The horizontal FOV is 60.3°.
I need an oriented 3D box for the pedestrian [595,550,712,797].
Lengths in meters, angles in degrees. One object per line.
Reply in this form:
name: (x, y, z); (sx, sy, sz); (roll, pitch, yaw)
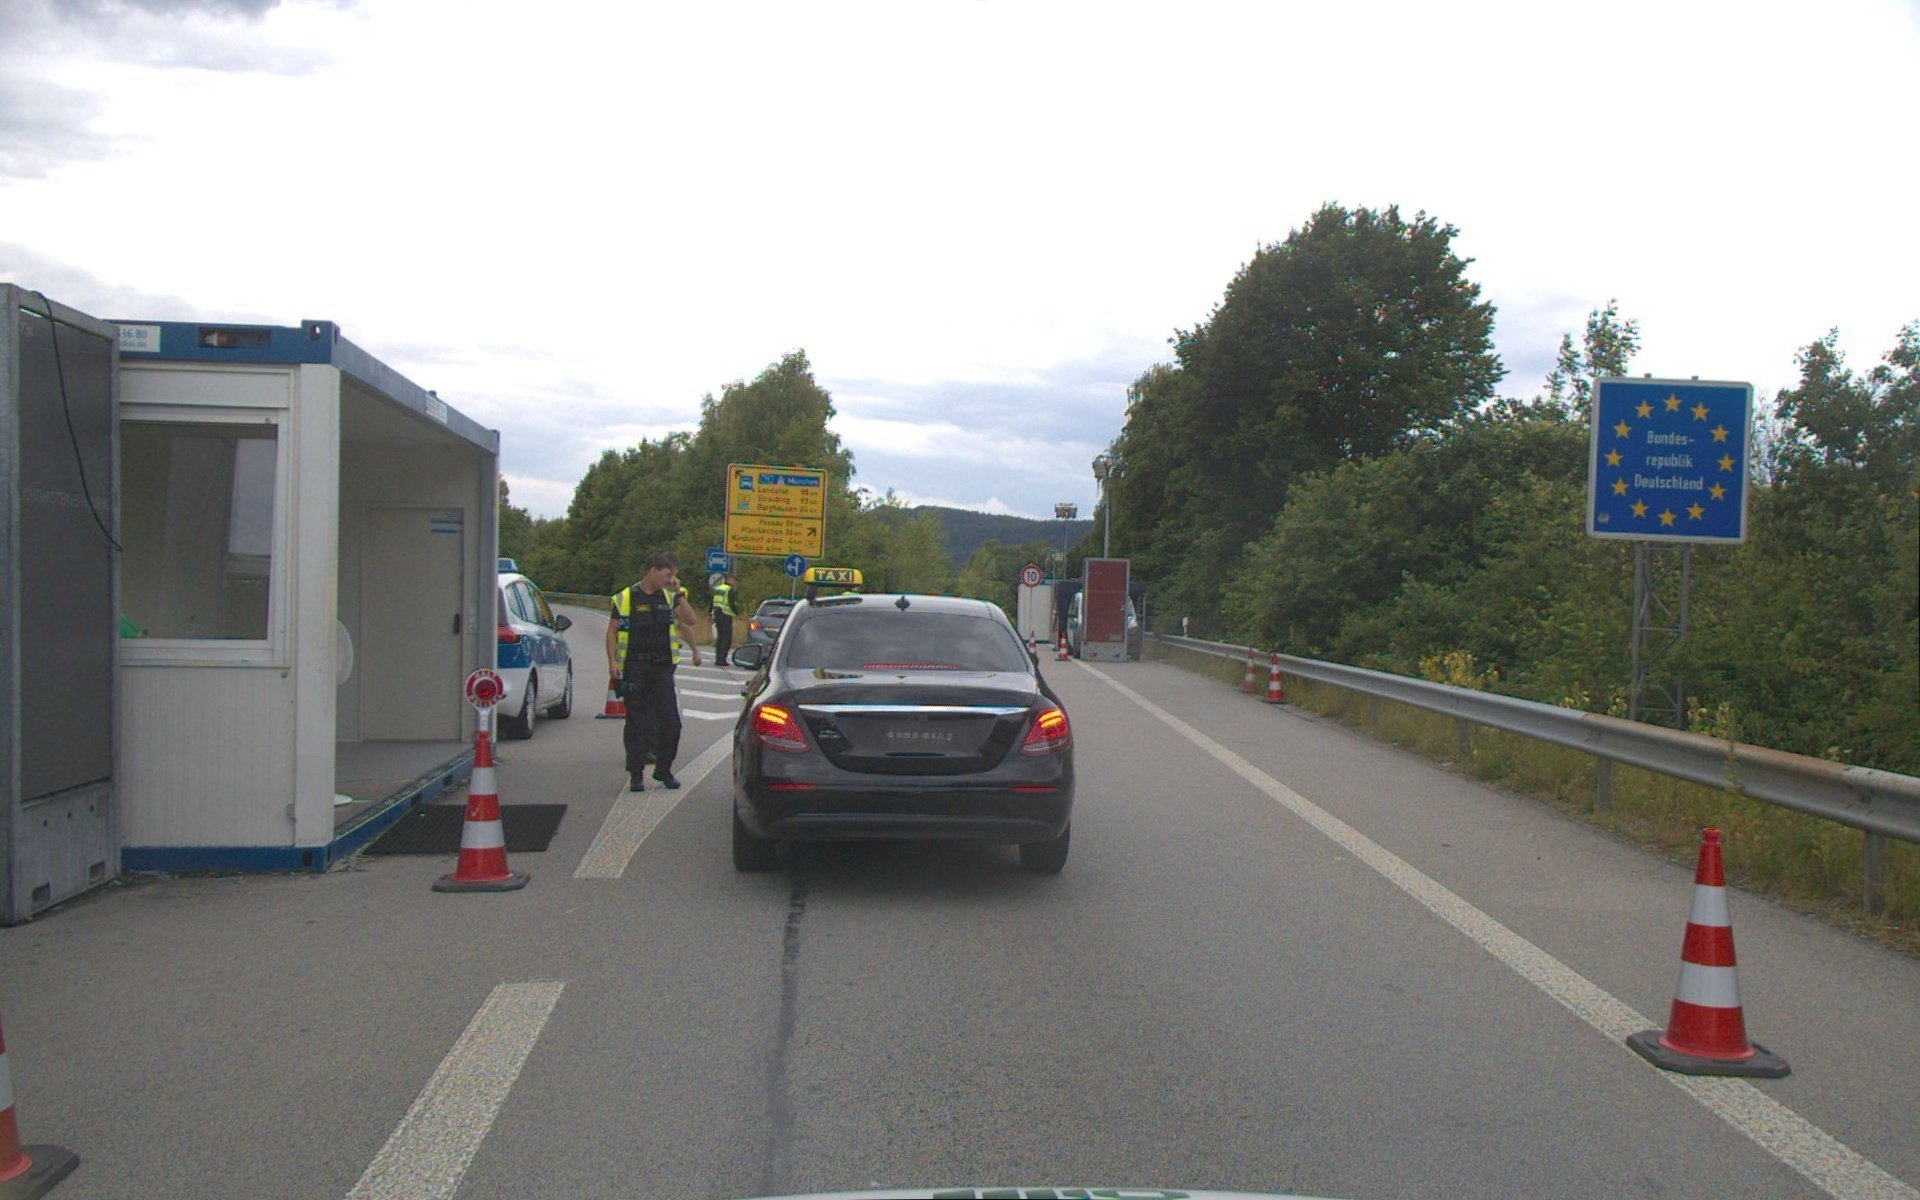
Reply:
pedestrian: (-2.271, 0.520, 12.195); (0.748, 1.748, 0.814); (1, 0, -18)

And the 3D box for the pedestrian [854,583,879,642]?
pedestrian: (-3.199, 0.437, 56.640); (0.650, 1.995, 0.760); (0, 0, 14)

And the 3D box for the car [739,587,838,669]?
car: (-3.387, 0.523, 33.275); (1.819, 1.524, 4.253); (1, 0, -4)

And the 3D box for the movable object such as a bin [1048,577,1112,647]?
movable object such as a bin: (4.127, 0.395, 57.326); (1.952, 2.320, 4.168); (1, 0, 1)

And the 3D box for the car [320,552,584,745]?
car: (-5.183, 0.445, 17.415); (1.832, 1.774, 4.004); (1, 0, -5)

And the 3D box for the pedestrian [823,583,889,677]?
pedestrian: (-1.954, 0.563, 31.145); (0.900, 1.727, 0.903); (1, 0, -33)

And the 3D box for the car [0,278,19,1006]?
car: (-4.084, 0.151, 3.060); (1.989, 2.506, 5.274); (1, 0, -5)

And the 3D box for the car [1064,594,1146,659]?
car: (4.184, 0.724, 48.483); (1.877, 1.707, 5.083); (3, 0, 0)

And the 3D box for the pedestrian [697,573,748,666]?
pedestrian: (-4.709, 0.383, 32.765); (0.895, 1.800, 0.908); (1, 0, -14)

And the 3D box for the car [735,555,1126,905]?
car: (-0.350, 0.605, 9.948); (1.819, 1.623, 4.370); (1, 0, -6)

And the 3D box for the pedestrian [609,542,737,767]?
pedestrian: (-2.449, 0.448, 14.169); (0.795, 1.862, 0.810); (0, 0, 15)
